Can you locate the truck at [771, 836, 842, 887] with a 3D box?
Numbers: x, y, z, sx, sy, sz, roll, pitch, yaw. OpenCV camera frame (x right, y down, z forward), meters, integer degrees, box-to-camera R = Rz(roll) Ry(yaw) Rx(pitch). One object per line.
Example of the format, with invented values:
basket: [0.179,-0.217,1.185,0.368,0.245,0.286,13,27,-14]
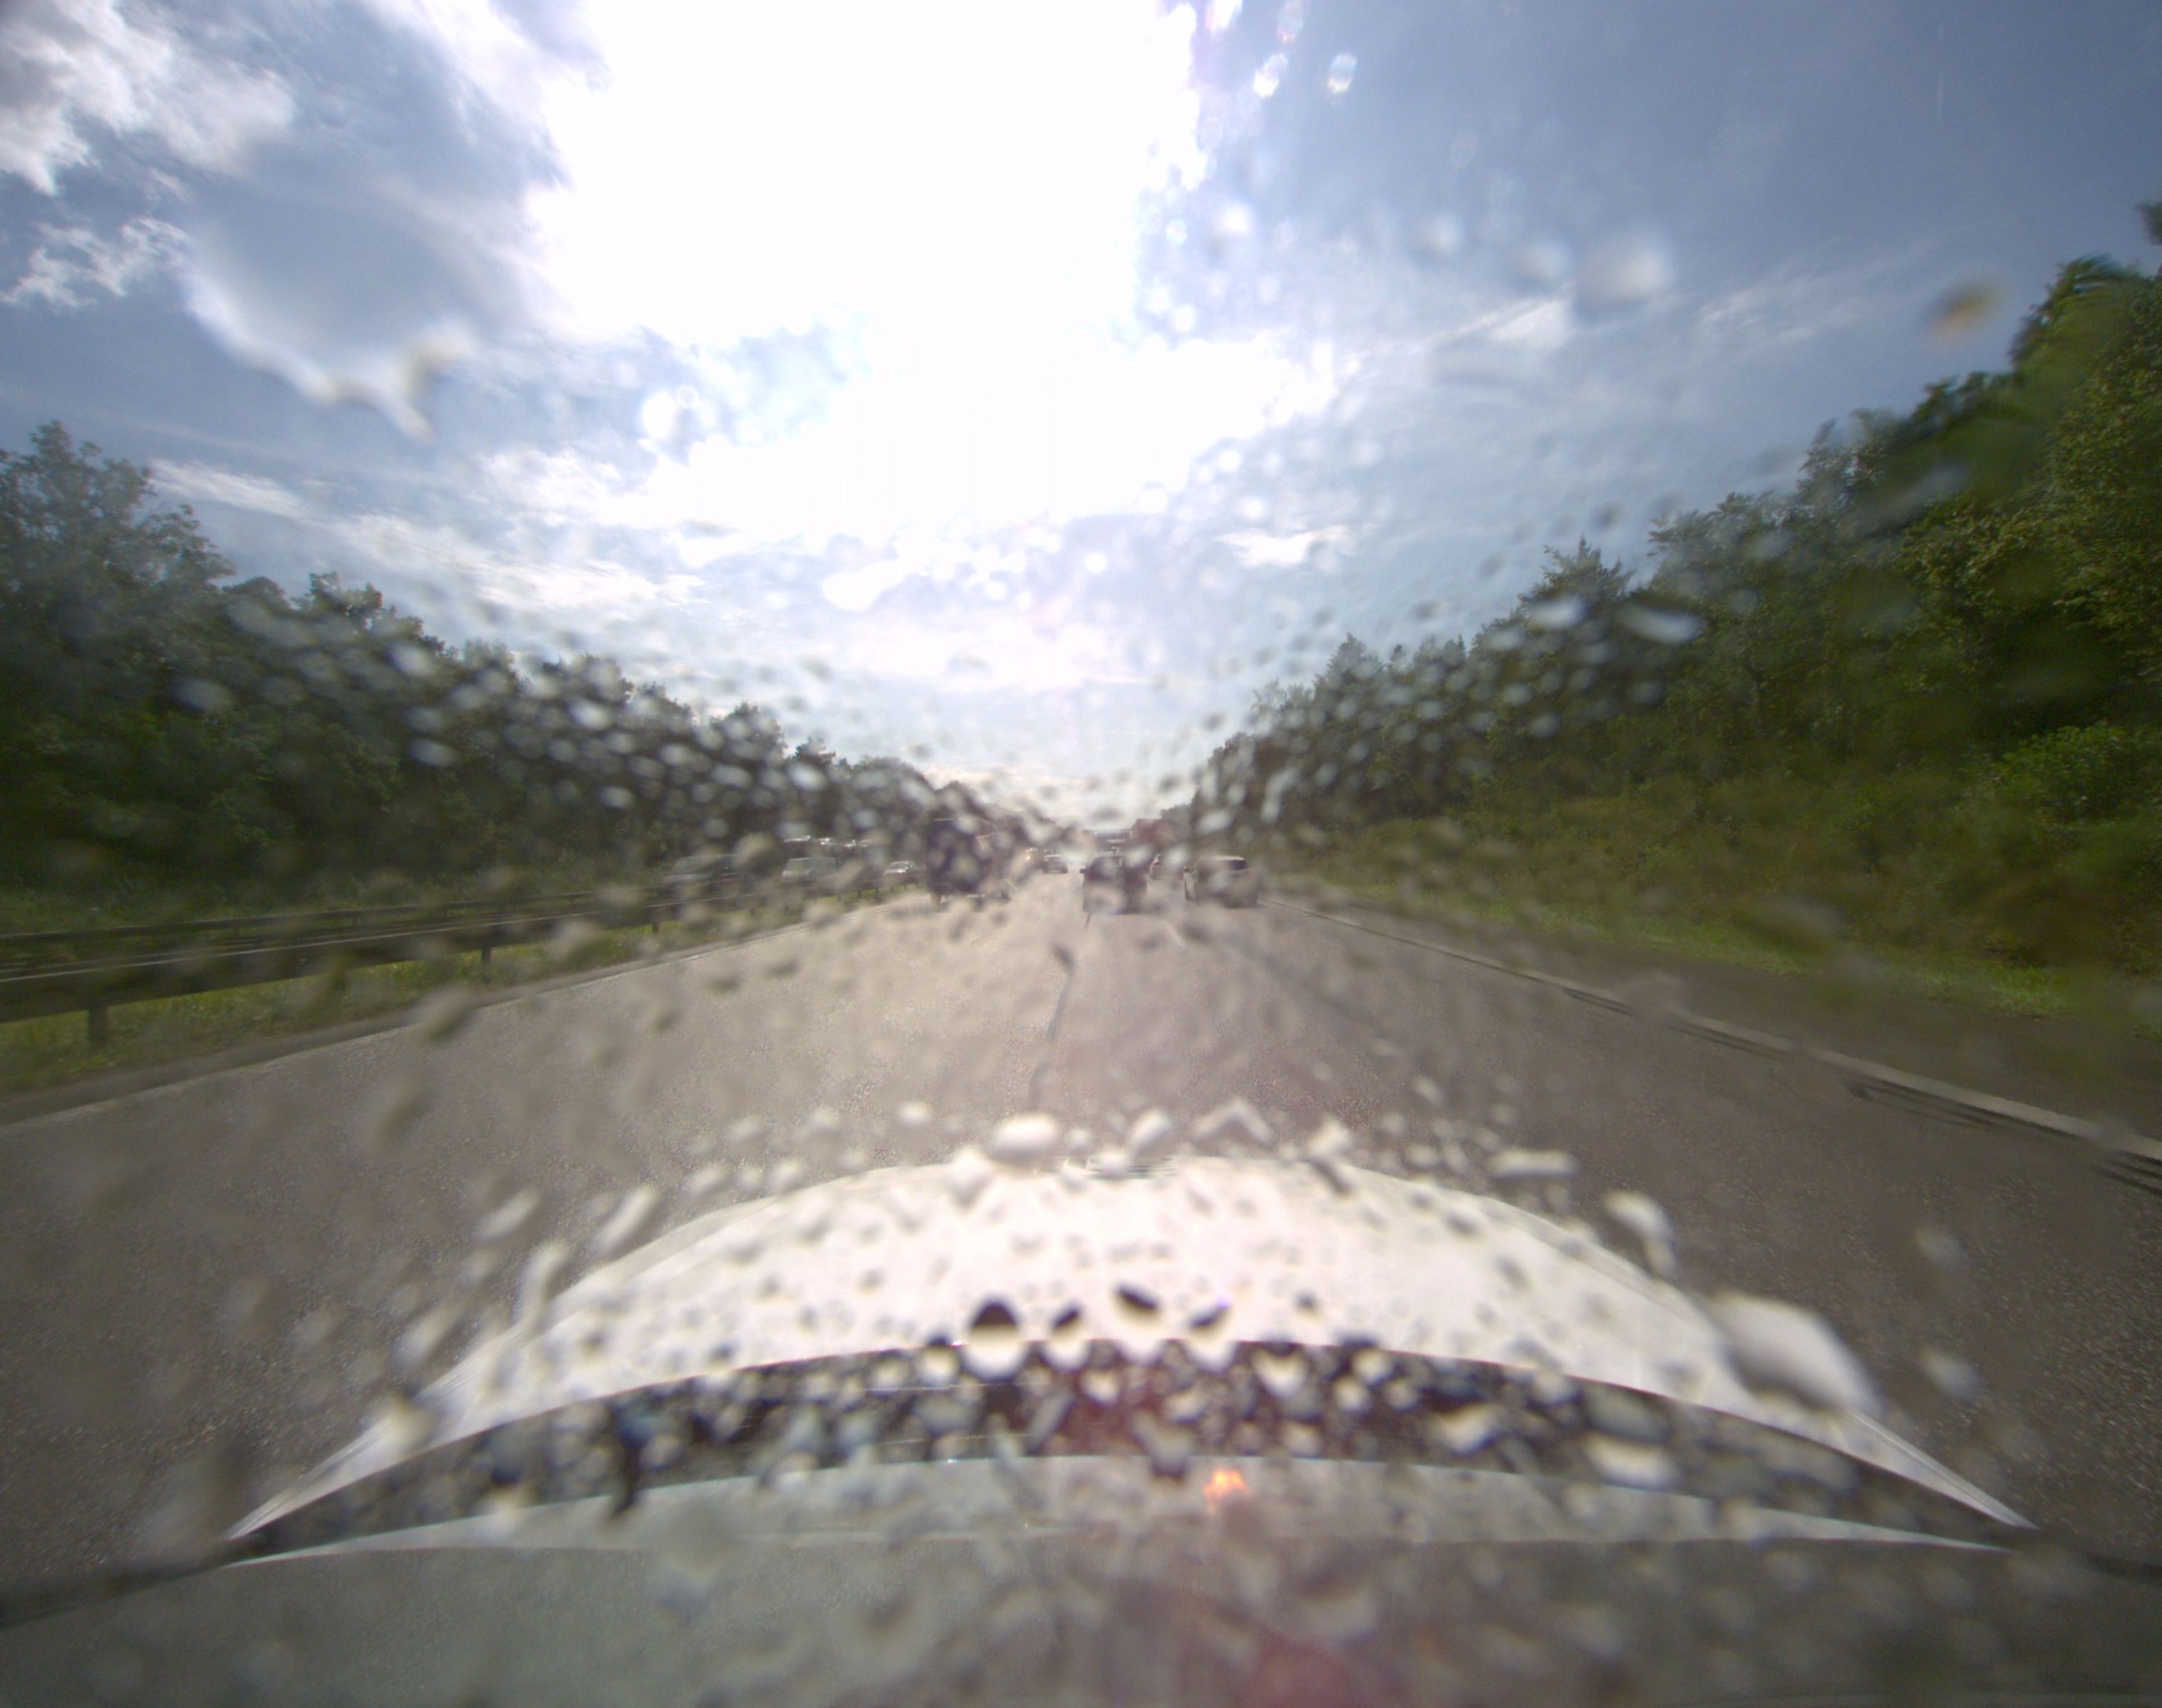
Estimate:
truck: [-21.766,0.554,64.994,2.978,3.831,6.869,0,0,3]

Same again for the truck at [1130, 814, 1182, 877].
truck: [6.200,-0.606,70.178,3.635,4.720,16.790,-1,0,3]

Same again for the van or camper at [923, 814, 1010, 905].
van or camper: [-3.620,0.171,26.828,1.986,2.669,5.385,0,0,1]

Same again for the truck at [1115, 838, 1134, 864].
truck: [7.939,-0.534,148.409,3.243,4.479,12.429,-1,0,3]

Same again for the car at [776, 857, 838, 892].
car: [-16.046,1.135,48.047,1.862,1.946,5.042,0,0,1]

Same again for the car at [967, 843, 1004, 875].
car: [-7.564,0.384,65.117,2.175,2.452,5.749,0,0,1]

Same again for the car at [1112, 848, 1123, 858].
car: [5.298,-0.165,119.356,1.547,1.383,3.210,0,0,1]

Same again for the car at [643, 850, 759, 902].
car: [-13.250,0.713,28.773,1.839,1.663,4.663,0,0,1]

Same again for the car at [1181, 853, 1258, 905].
car: [4.114,0.703,24.781,1.686,1.425,4.220,0,0,1]

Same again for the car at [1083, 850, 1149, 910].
car: [0.946,0.690,23.068,1.712,1.567,3.485,0,0,1]

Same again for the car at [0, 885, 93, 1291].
car: [-4.777,0.828,0.725,1.787,1.419,4.841,-1,0,2]

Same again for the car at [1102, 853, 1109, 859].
car: [7.666,0.513,253.840,1.986,1.728,4.002,-1,0,2]

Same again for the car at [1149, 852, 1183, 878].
car: [4.931,0.635,47.651,1.674,1.442,3.905,0,0,1]

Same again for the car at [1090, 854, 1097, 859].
car: [2.990,0.561,192.582,1.544,1.267,3.485,0,0,1]

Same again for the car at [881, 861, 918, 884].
car: [-12.171,1.222,54.904,1.597,1.464,3.652,0,0,1]

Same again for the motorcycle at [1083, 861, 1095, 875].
motorcycle: [0.642,1.090,63.169,0.887,1.000,2.896,0,0,1]

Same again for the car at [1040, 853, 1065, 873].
car: [-2.294,0.720,66.337,1.848,1.551,3.485,0,0,1]

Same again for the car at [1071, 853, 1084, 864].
car: [-0.495,0.603,111.663,1.745,1.457,3.390,0,0,1]

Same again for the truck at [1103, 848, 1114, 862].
truck: [5.626,0.179,169.442,2.184,2.875,4.850,0,0,1]

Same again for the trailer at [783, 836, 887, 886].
trailer: [-21.331,0.575,72.500,2.978,3.831,17.965,0,0,3]

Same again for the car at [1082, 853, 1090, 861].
car: [0.866,0.526,139.741,1.455,1.393,3.312,0,0,1]

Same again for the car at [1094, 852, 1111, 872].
car: [1.916,0.670,73.182,1.526,1.746,3.485,0,0,1]

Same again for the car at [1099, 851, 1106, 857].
car: [6.236,0.014,234.045,1.986,1.701,4.002,-2,0,2]

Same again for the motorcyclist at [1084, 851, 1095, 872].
motorcyclist: [0.652,0.600,63.127,0.799,1.633,1.013,0,0,1]

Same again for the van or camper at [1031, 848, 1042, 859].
van or camper: [-12.279,-0.066,224.179,2.492,2.921,7.139,0,0,1]
